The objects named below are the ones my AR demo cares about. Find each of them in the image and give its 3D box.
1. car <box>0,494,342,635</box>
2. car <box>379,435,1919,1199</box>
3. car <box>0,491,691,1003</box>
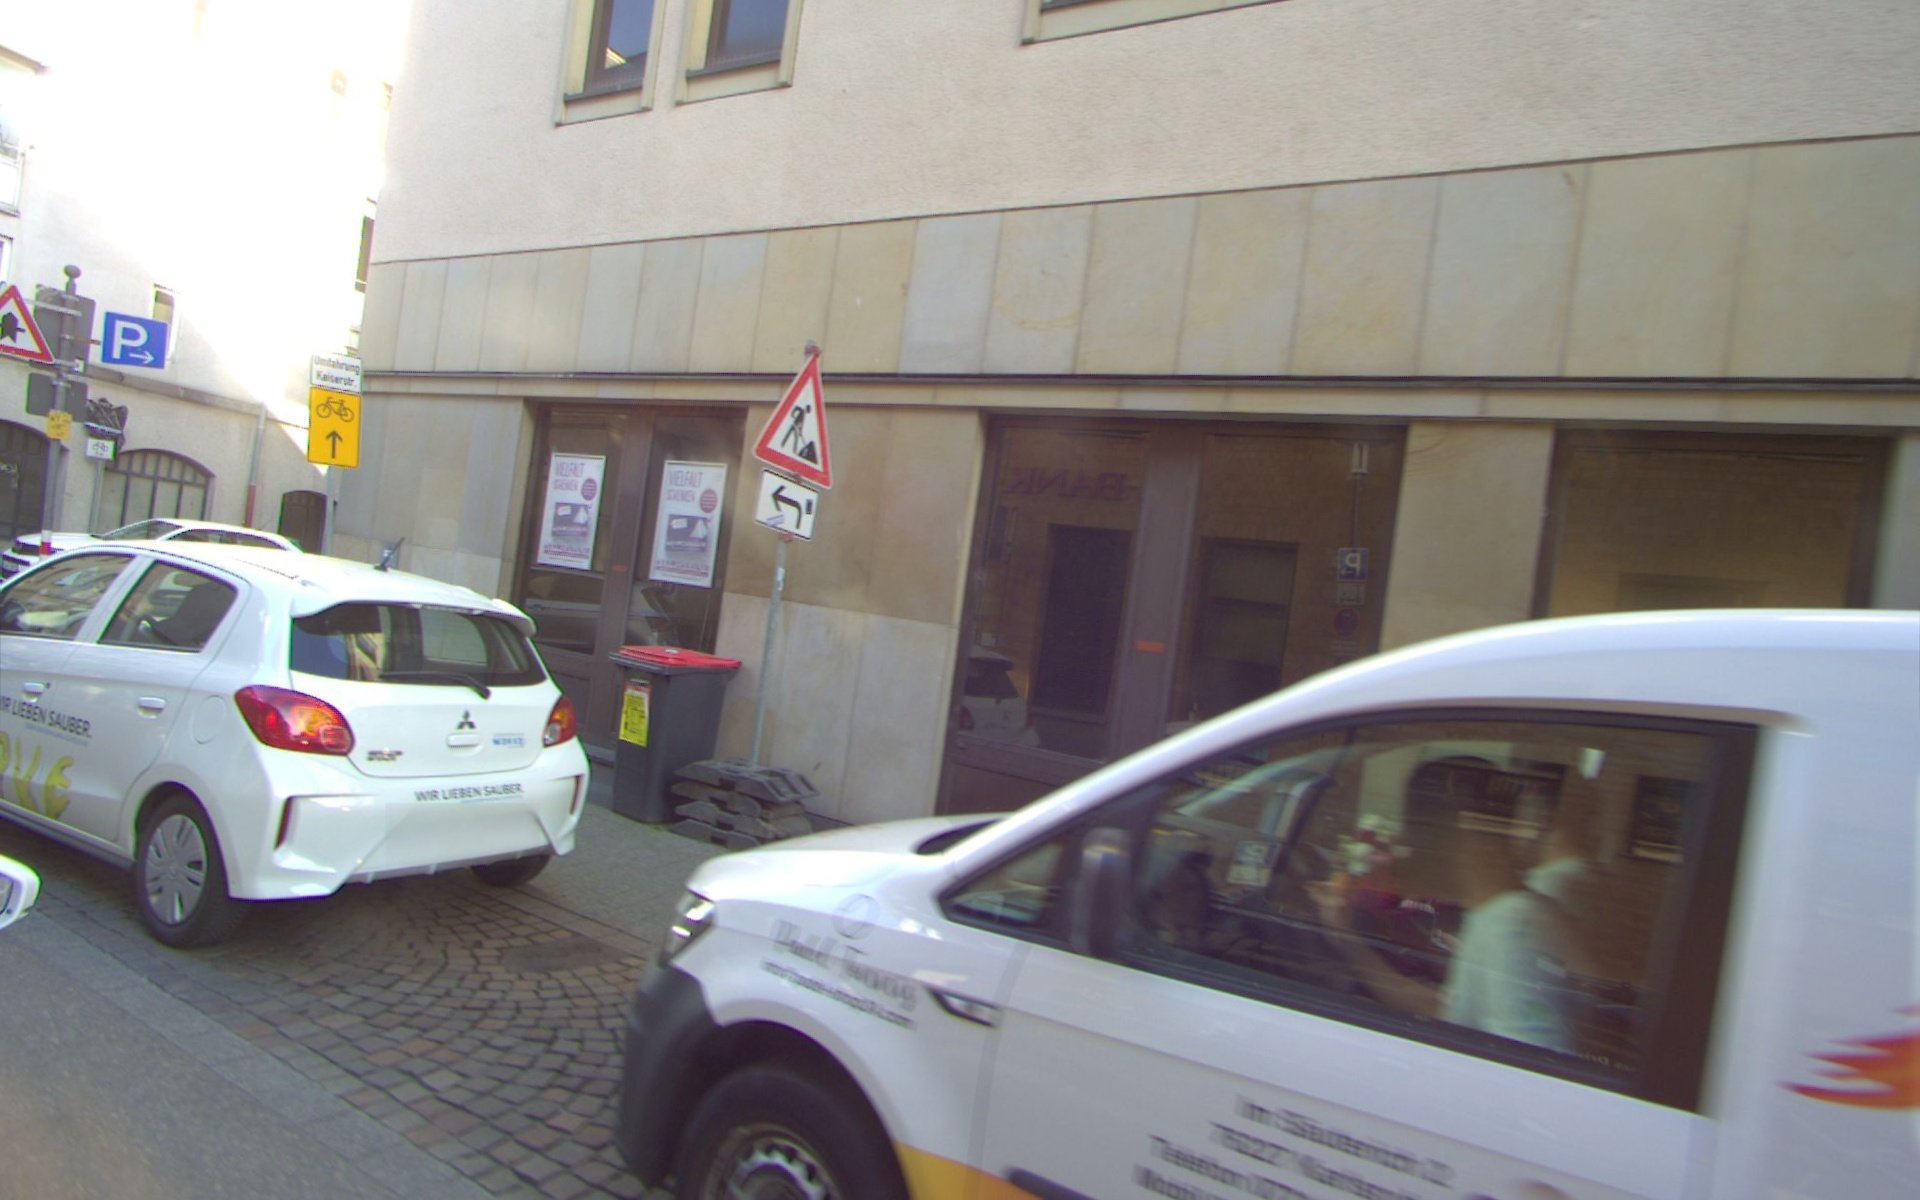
[{"bbox_3d":[-12.572,-0.489,15.968,1.869,1.571,4.227,8,-2,28],"label":"car"},{"bbox_3d":[1.359,0.874,1.920,5.126,1.811,1.835,7,-2,31],"label":"car"},{"bbox_3d":[-3.621,0.410,5.039,3.990,1.536,1.894,8,-1,26],"label":"car"}]
